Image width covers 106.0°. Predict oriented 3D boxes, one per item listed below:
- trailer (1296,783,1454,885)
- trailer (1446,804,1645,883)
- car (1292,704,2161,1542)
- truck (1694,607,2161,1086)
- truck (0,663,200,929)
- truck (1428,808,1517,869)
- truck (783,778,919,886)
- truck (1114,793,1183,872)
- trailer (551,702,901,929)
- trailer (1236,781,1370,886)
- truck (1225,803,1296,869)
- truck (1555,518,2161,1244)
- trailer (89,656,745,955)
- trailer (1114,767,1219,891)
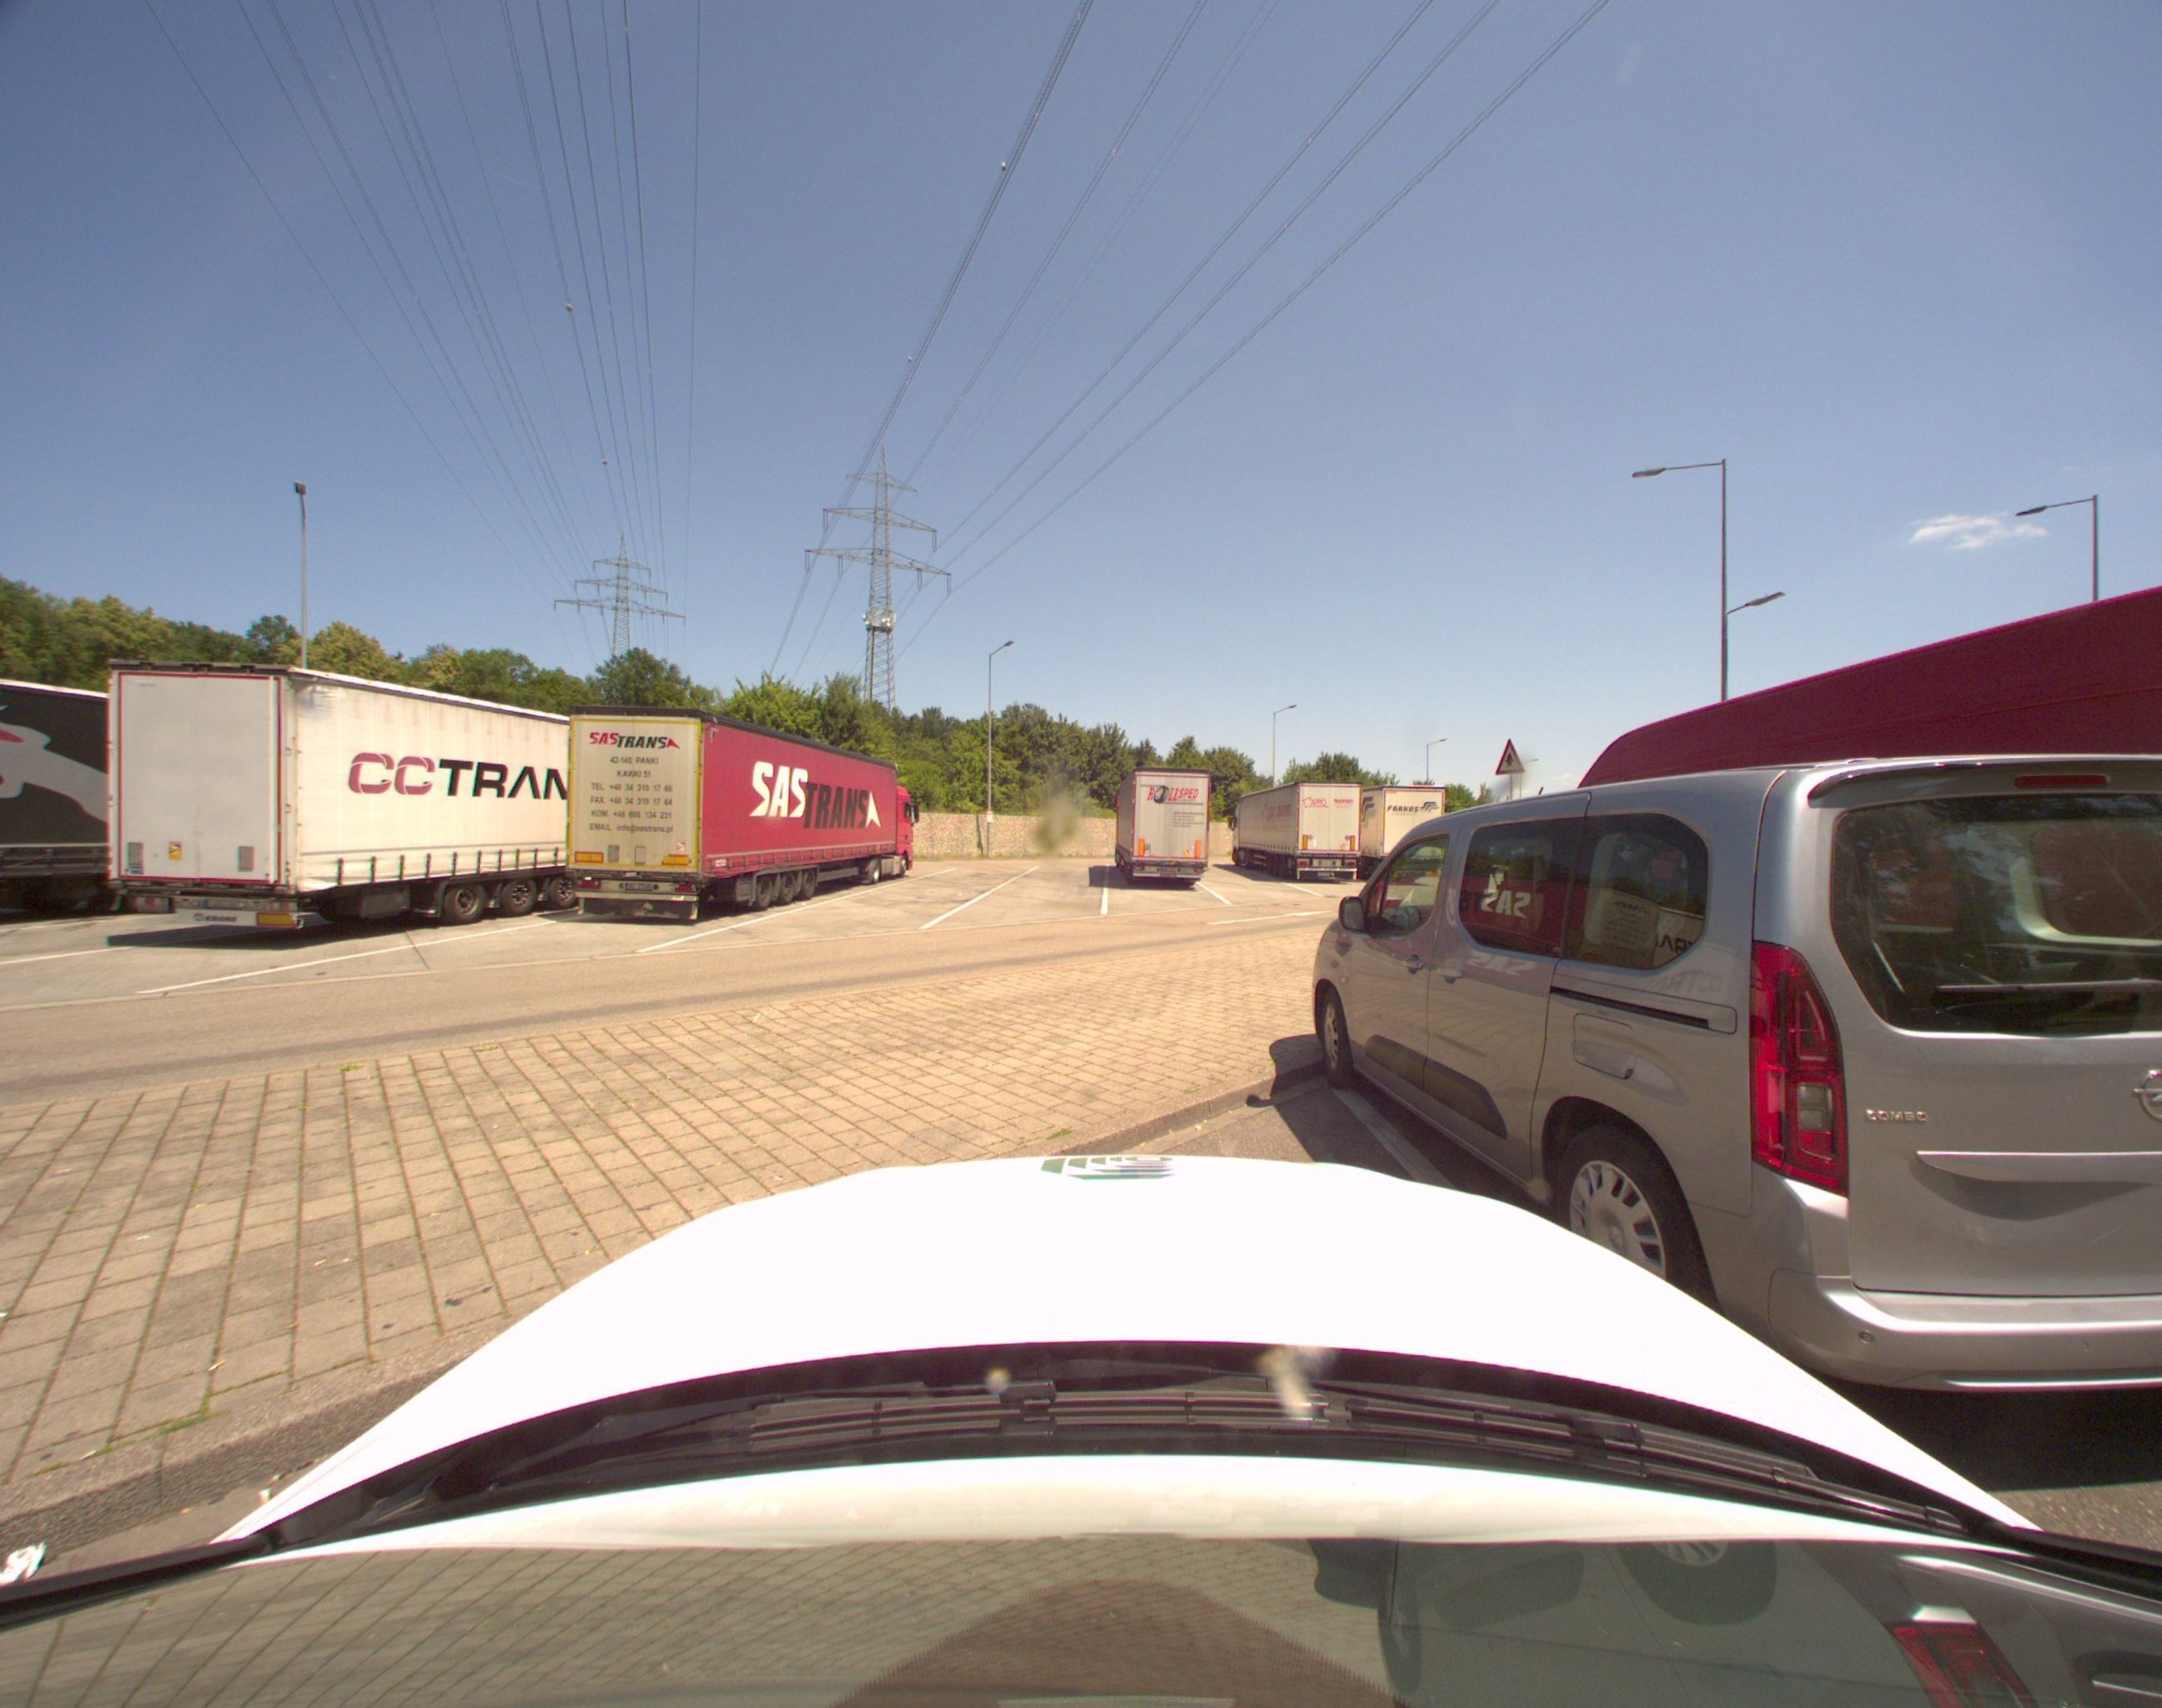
[{"bbox_3d":[13.604,-1.042,39.631,2.801,3.989,14.403,1,2,2],"label":"trailer"},{"bbox_3d":[24.101,-0.739,43.778,2.801,3.507,14.403,1,2,2],"label":"trailer"},{"bbox_3d":[2.493,0.571,3.907,1.864,1.863,4.176,1,1,0],"label":"car"},{"bbox_3d":[7.995,-0.039,6.479,2.444,2.912,5.663,-1,-1,7],"label":"truck"},{"bbox_3d":[-18.537,-0.975,13.806,2.726,4.239,3.997,1,2,2],"label":"truck"},{"bbox_3d":[24.357,-1.011,51.010,2.792,3.521,5.903,1,2,2],"label":"truck"},{"bbox_3d":[-7.813,-0.791,28.498,2.840,3.327,5.903,1,2,2],"label":"truck"},{"bbox_3d":[3.231,-1.087,40.613,3.092,3.566,5.903,1,2,2],"label":"truck"},{"bbox_3d":[-8.061,-0.953,21.928,2.781,4.084,14.139,1,2,2],"label":"trailer"},{"bbox_3d":[9.931,-1.051,38.668,2.801,3.989,14.403,1,2,2],"label":"trailer"},{"bbox_3d":[10.193,-1.081,46.769,2.852,3.521,5.903,1,2,2],"label":"truck"},{"bbox_3d":[5.139,0.116,4.930,1.968,2.622,5.314,0,-1,7],"label":"truck"},{"bbox_3d":[-12.125,-0.917,18.358,2.785,4.084,14.139,1,2,2],"label":"trailer"},{"bbox_3d":[3.066,-1.070,33.719,3.122,3.989,14.401,1,2,1],"label":"trailer"}]
